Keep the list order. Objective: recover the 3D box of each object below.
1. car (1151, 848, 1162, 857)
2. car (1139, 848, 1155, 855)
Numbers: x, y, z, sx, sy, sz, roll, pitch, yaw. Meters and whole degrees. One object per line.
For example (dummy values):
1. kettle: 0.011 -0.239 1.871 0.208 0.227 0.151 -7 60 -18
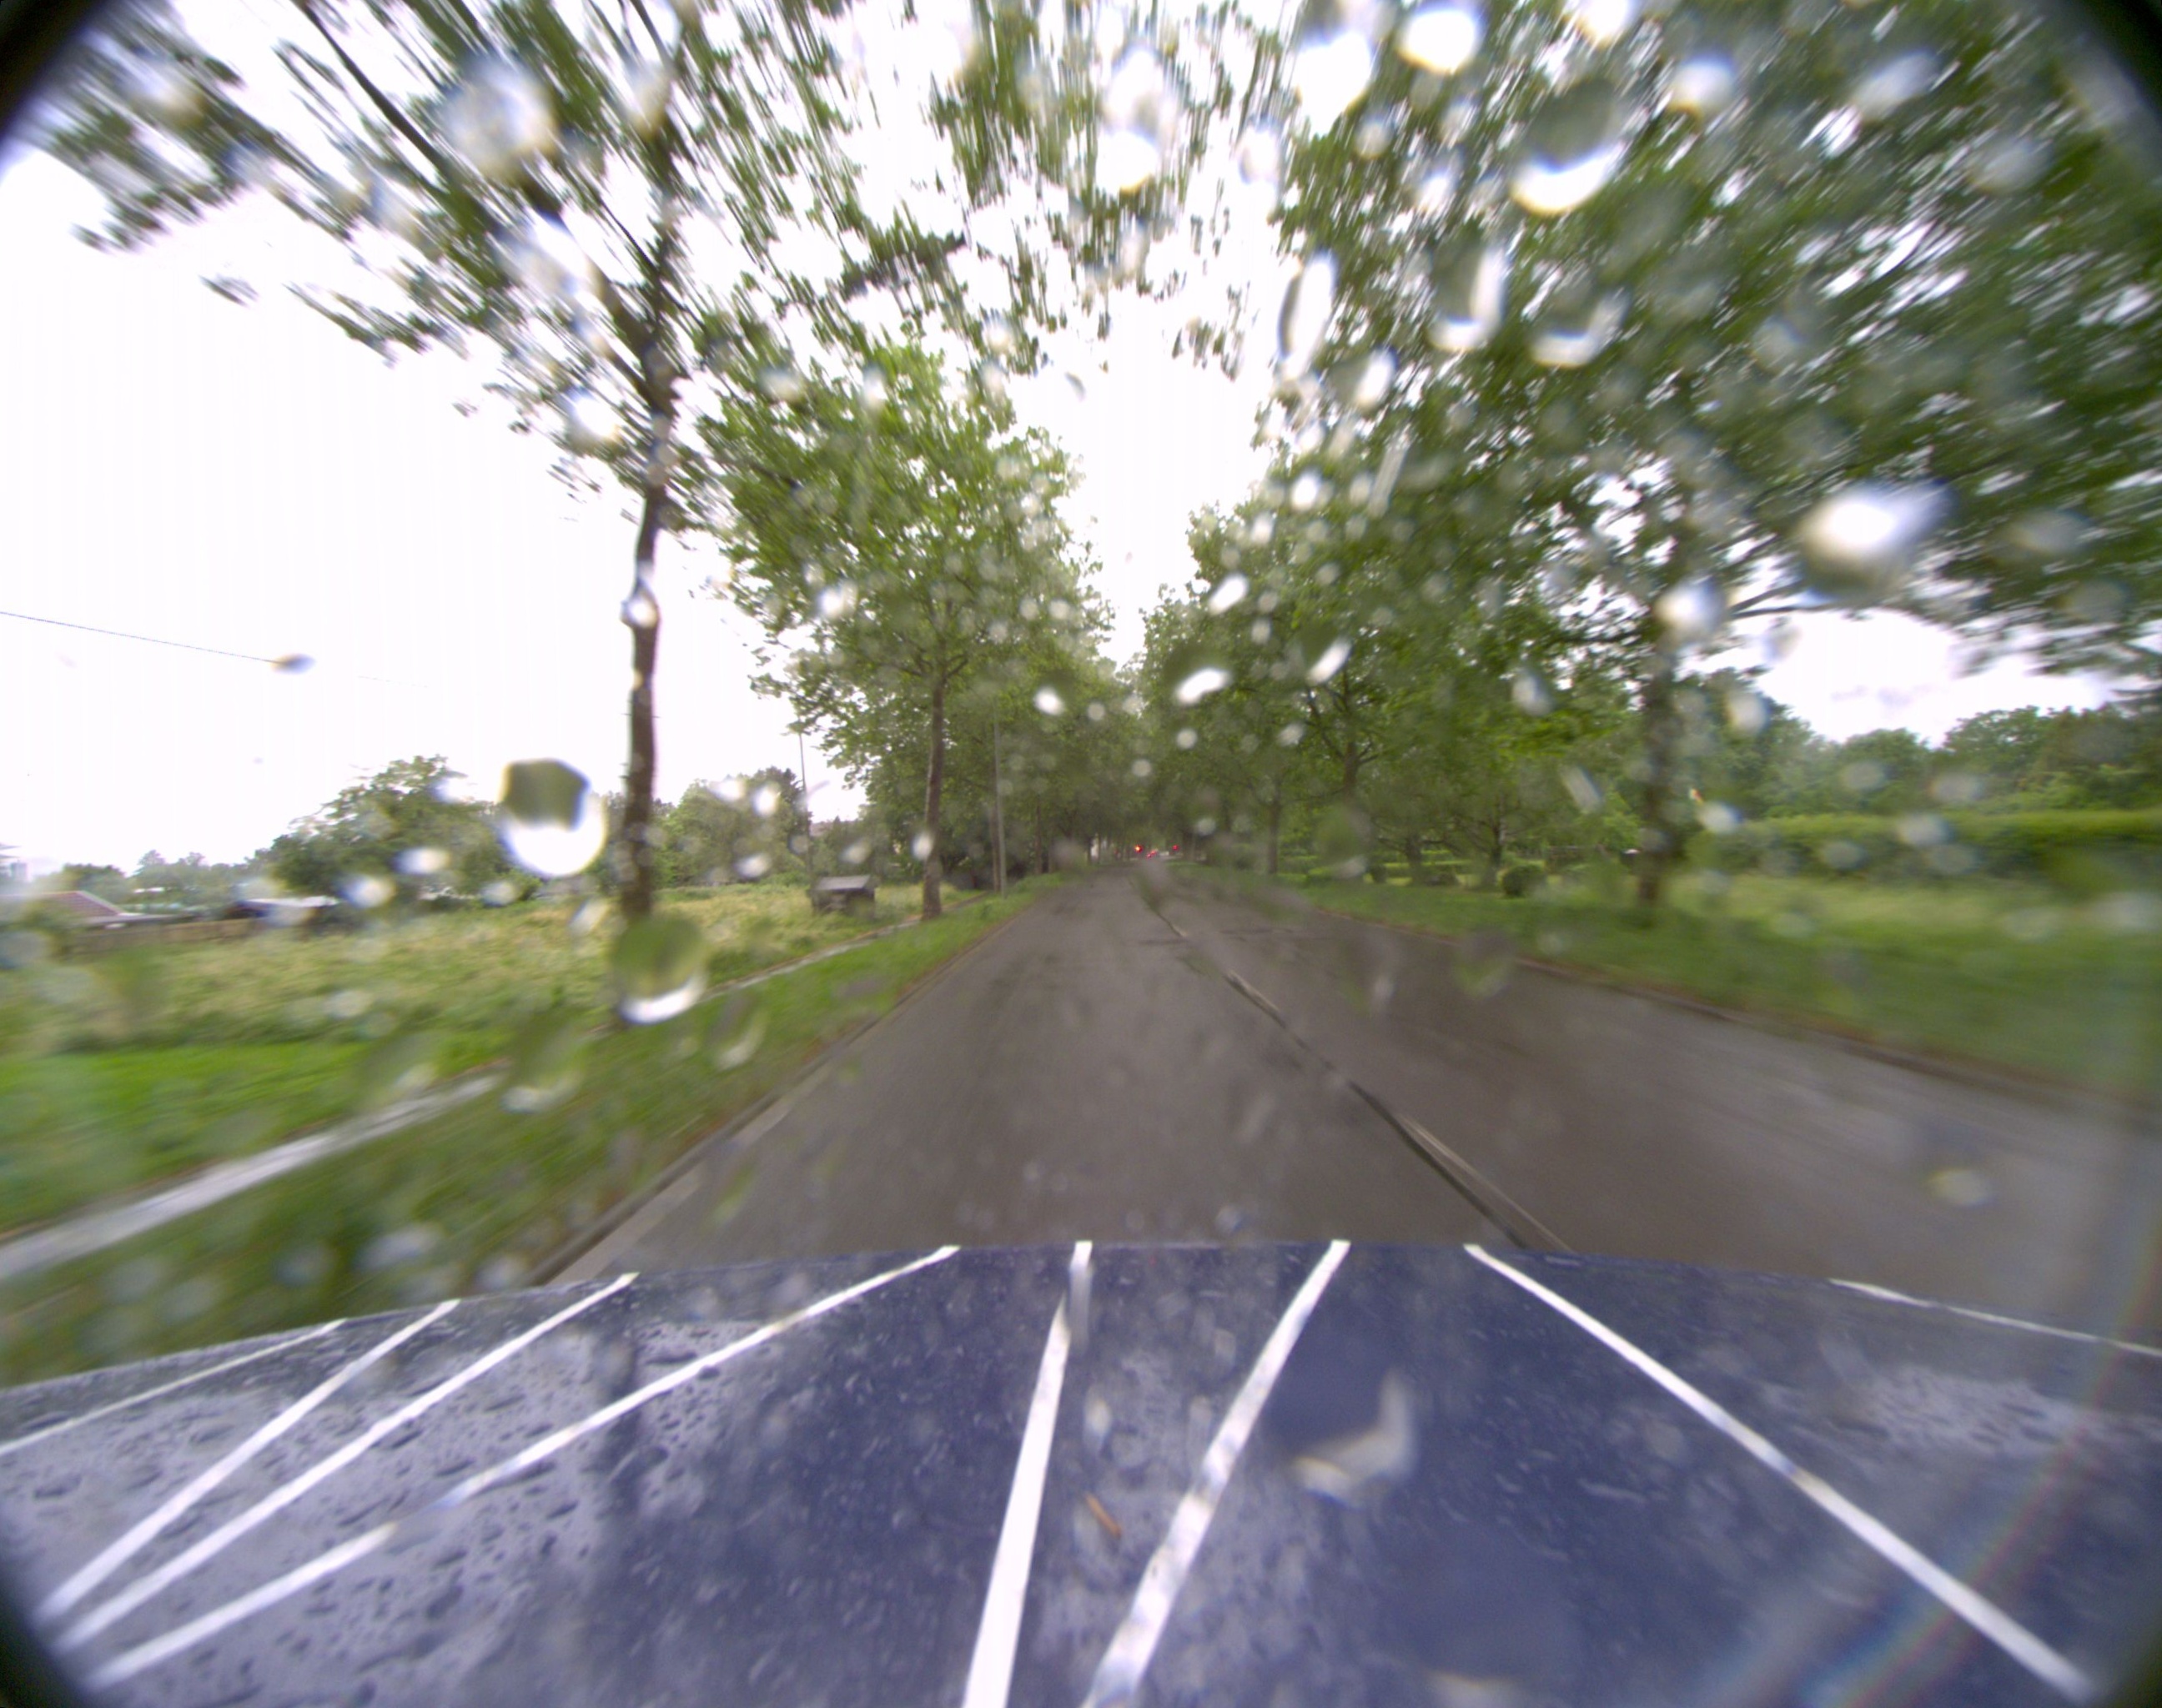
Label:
1. car: 15.106 -0.396 151.711 1.867 1.739 5.016 -1 0 3
2. car: 19.311 -0.740 222.525 4.258 1.845 1.893 -3 0 12
